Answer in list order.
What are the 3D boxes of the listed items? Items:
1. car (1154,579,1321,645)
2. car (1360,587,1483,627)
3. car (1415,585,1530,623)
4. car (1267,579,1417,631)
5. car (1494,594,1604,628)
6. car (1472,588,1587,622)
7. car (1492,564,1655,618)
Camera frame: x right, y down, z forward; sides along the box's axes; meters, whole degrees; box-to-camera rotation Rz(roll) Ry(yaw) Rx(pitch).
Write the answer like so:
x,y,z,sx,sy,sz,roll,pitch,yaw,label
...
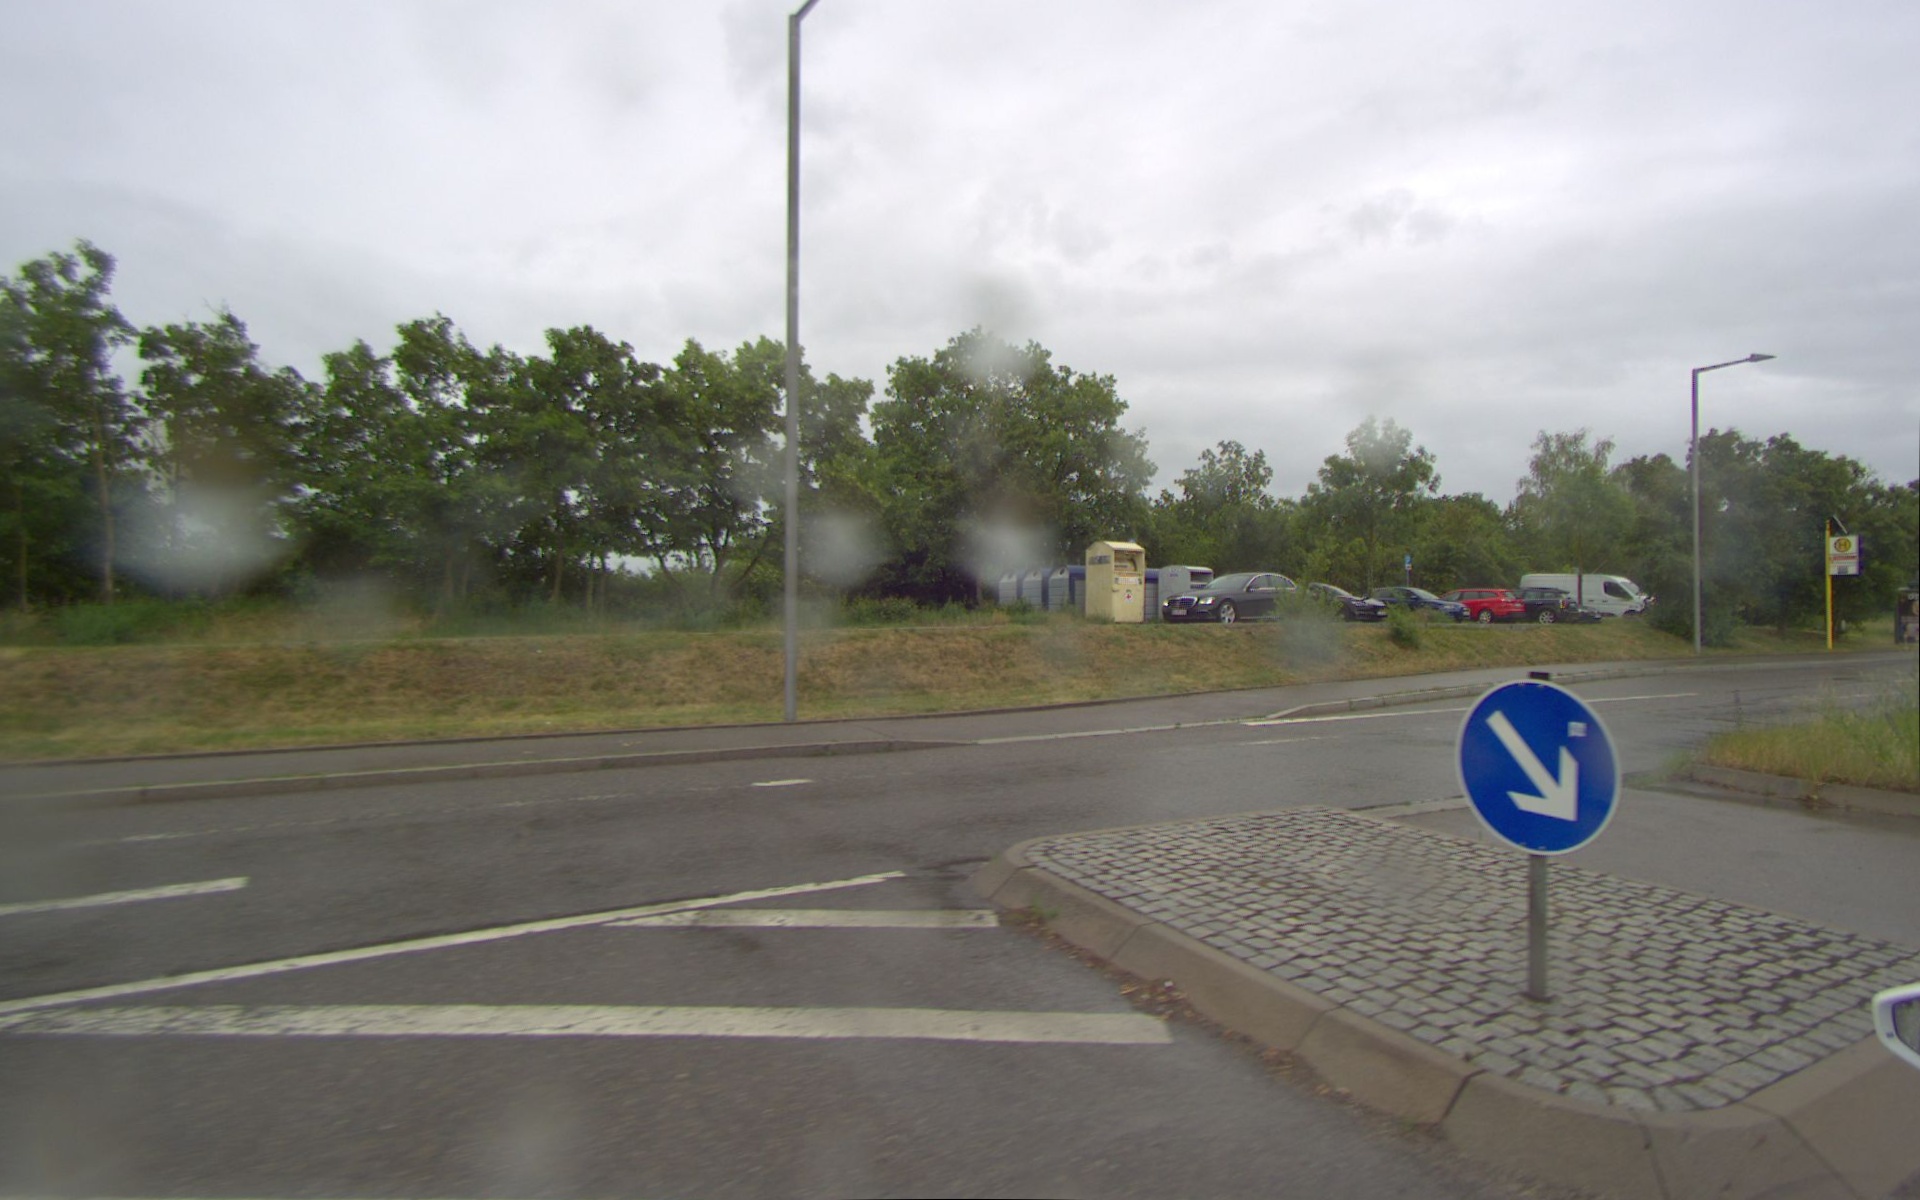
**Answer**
x,y,z,sx,sy,sz,roll,pitch,yaw,label
7.362,0.249,26.529,4.491,1.589,1.682,-1,2,-32,car
17.664,0.229,38.599,1.876,1.382,3.969,0,1,-29,car
21.493,0.198,42.244,1.826,1.488,3.968,0,-1,-30,car
13.256,0.128,35.138,1.982,1.716,4.682,0,1,-31,car
26.254,0.453,44.878,1.632,1.382,3.969,0,1,-29,car
24.517,0.243,43.354,1.825,1.382,3.970,0,-1,-29,car
29.915,-0.427,49.240,2.117,2.429,6.513,2,-1,-34,car
